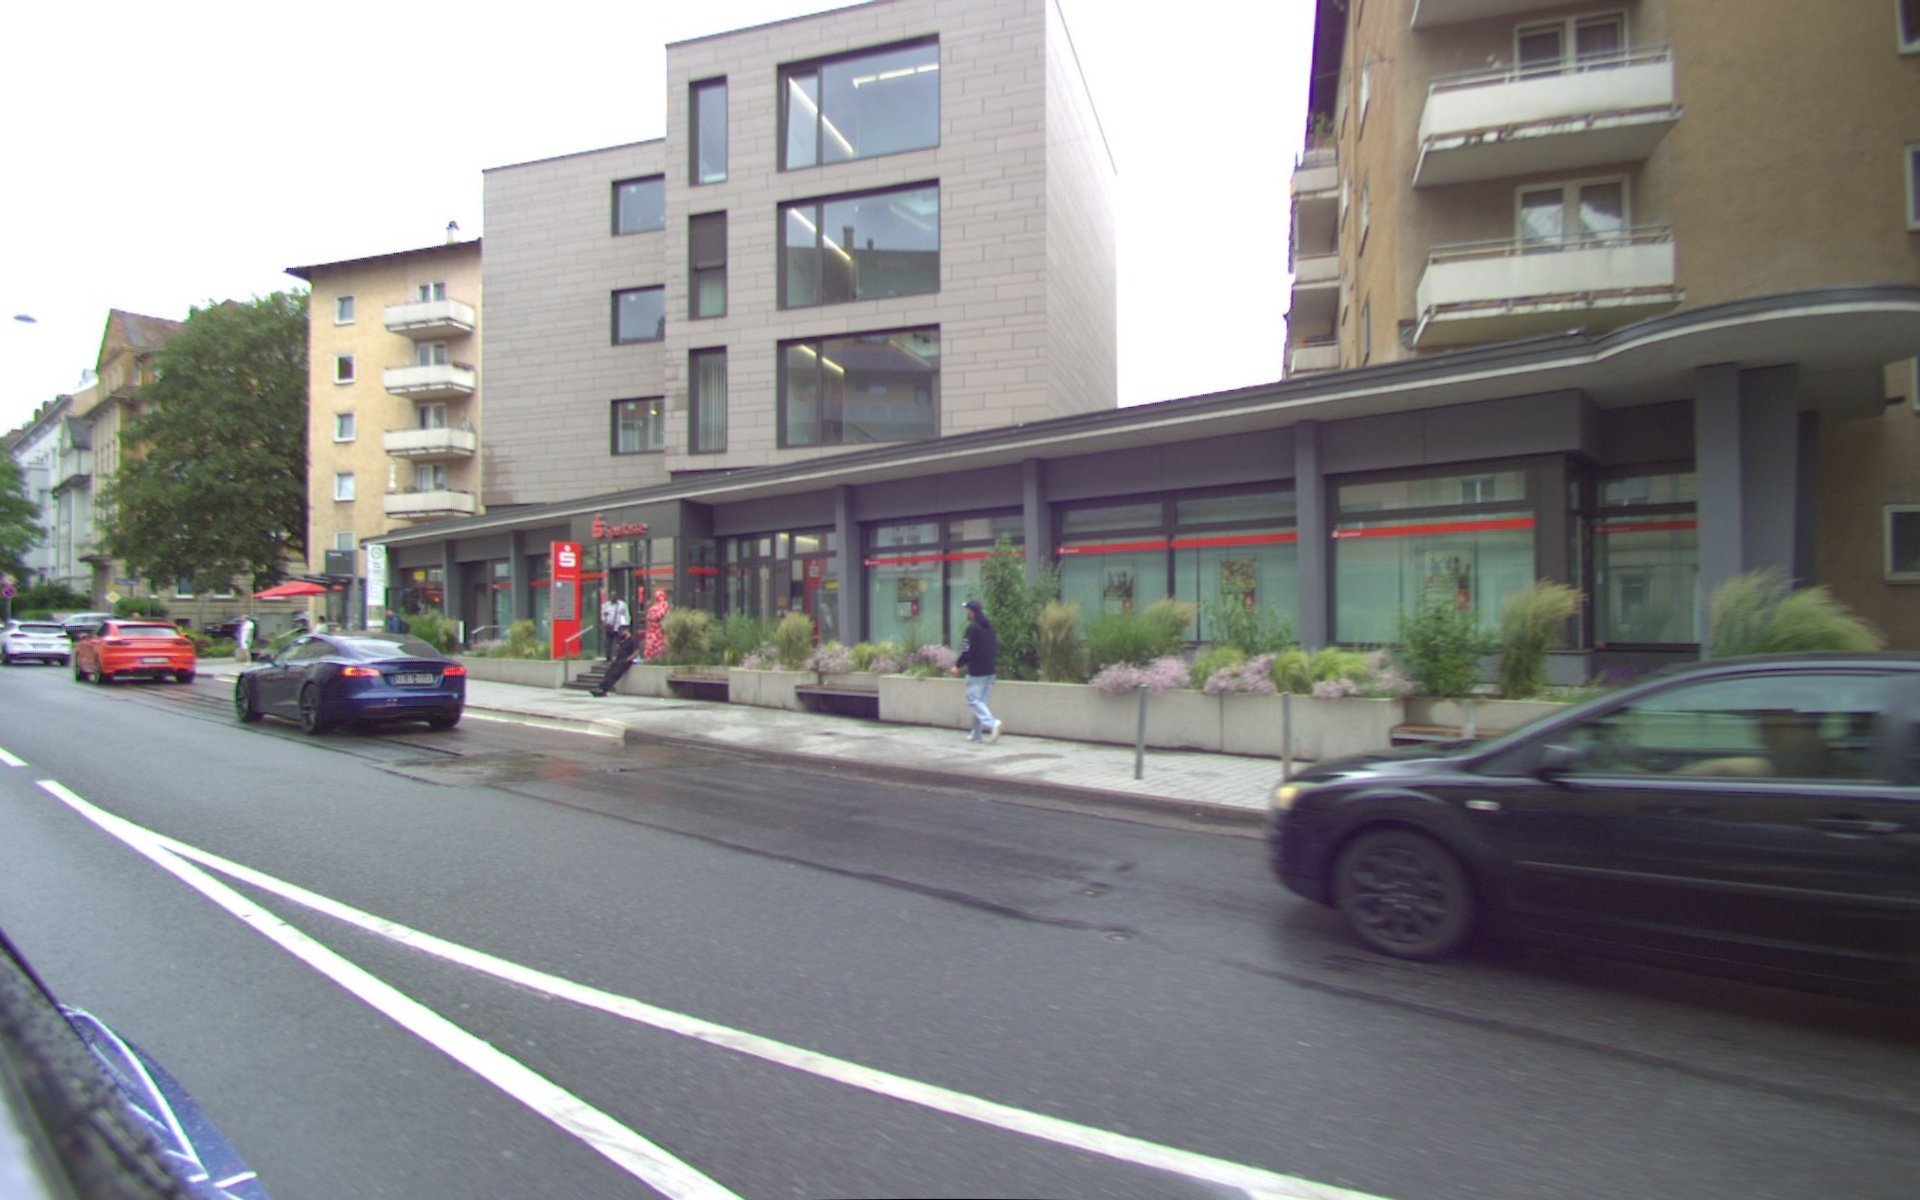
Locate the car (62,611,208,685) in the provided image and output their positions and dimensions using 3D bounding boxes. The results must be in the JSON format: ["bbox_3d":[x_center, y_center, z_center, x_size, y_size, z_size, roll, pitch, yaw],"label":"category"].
[{"bbox_3d":[-22.018,1.304,26.935,5.056,1.778,2.084,-3,-4,40],"label":"car"}]

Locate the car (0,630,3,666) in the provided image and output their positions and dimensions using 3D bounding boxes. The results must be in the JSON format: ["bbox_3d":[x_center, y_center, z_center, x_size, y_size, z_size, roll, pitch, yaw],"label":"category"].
[{"bbox_3d":[-41.197,1.943,42.063,3.803,1.475,1.599,-1,-4,40],"label":"car"}]

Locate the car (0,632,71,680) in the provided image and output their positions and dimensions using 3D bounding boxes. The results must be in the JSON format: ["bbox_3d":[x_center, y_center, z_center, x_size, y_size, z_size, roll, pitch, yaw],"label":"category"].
[{"bbox_3d":[-34.027,2.002,36.827,4.122,1.585,1.875,0,-3,40],"label":"car"}]

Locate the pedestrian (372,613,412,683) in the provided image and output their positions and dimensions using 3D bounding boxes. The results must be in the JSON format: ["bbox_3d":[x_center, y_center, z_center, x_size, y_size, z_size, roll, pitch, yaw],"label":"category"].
[{"bbox_3d":[-15.152,1.256,26.992,0.867,1.833,0.584,-1,-1,32],"label":"pedestrian"}]

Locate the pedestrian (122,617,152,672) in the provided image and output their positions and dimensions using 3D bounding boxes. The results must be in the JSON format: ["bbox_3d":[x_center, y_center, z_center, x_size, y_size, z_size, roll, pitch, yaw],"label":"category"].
[{"bbox_3d":[-30.926,1.654,38.037,0.781,2.029,0.695,-1,-1,37],"label":"pedestrian"}]

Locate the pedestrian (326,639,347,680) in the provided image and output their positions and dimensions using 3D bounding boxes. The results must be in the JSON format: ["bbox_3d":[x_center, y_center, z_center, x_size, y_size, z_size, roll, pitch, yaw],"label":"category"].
[{"bbox_3d":[-17.465,1.653,28.344,0.386,1.125,0.388,-1,-1,40],"label":"pedestrian"}]

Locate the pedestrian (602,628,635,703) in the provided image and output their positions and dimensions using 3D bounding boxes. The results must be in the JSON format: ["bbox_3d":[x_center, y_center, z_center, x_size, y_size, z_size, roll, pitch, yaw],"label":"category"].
[{"bbox_3d":[-6.699,1.272,19.873,0.582,1.431,0.727,0,-1,-15],"label":"pedestrian"}]

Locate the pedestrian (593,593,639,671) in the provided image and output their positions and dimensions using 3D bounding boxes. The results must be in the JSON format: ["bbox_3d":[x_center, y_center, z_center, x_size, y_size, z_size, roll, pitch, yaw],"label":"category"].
[{"bbox_3d":[-7.688,0.709,22.595,0.713,1.691,0.706,-2,-1,40],"label":"pedestrian"}]

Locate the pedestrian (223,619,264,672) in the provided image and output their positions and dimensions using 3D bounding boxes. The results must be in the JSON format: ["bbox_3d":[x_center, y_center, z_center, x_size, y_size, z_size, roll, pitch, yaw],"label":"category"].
[{"bbox_3d":[-23.969,1.523,33.876,0.755,1.721,0.789,-2,0,15],"label":"pedestrian"}]

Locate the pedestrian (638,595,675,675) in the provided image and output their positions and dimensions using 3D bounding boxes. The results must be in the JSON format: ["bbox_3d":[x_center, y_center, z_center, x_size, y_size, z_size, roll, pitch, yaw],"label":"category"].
[{"bbox_3d":[-6.610,0.750,22.044,0.701,1.691,0.803,0,-1,-22],"label":"pedestrian"}]

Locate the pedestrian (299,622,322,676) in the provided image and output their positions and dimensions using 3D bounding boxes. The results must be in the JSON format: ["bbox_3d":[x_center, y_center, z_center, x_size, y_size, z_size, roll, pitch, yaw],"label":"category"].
[{"bbox_3d":[-19.051,1.428,29.697,0.532,1.561,0.433,-1,-1,39],"label":"pedestrian"}]

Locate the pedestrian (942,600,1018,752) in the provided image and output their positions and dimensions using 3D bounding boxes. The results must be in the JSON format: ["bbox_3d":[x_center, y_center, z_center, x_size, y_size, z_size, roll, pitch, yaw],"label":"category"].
[{"bbox_3d":[0.256,0.929,12.741,0.717,1.840,0.718,-2,-1,21],"label":"pedestrian"}]

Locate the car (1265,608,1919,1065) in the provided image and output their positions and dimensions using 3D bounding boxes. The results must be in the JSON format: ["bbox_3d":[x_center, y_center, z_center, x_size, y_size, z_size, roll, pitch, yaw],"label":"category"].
[{"bbox_3d":[3.743,0.856,4.393,4.238,1.569,1.936,-2,-3,39],"label":"car"}]

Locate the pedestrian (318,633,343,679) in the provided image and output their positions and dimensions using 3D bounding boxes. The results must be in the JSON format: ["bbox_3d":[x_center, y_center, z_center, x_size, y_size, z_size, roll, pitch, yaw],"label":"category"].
[{"bbox_3d":[-17.826,1.571,28.665,0.549,1.287,0.463,-1,-1,40],"label":"pedestrian"}]

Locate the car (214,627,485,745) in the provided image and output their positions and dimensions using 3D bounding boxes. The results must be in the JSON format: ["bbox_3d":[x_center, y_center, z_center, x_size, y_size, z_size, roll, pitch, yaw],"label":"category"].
[{"bbox_3d":[-9.334,1.187,15.315,4.907,1.523,1.936,-1,-3,39],"label":"car"}]
